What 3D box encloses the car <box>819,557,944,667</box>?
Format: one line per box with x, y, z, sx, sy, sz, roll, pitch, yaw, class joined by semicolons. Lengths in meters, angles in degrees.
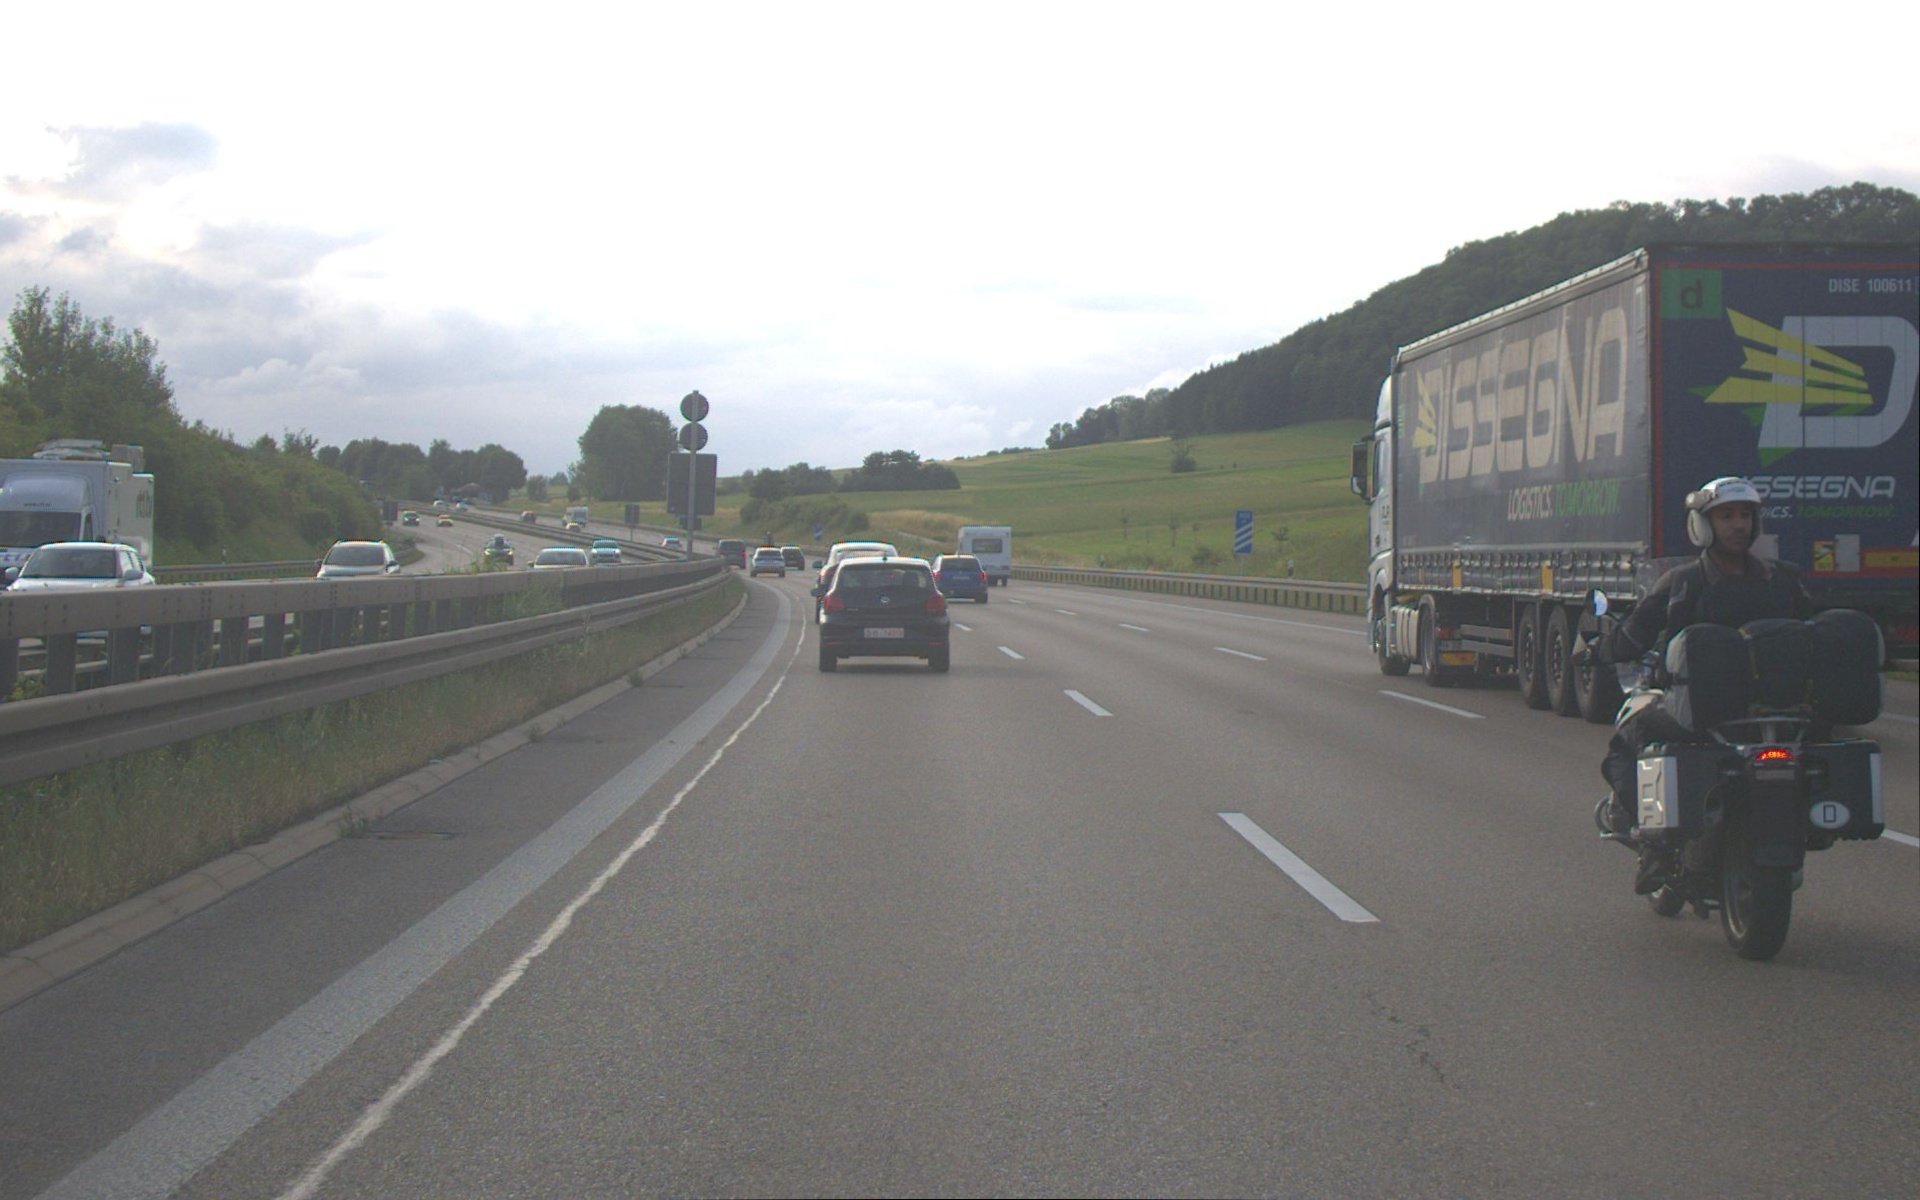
-0.988;0.131;44.676;1.538;1.343;3.677;1;1;0;car

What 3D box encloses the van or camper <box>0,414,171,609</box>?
-17.392;-1.685;66.808;2.481;3.539;7.978;1;1;-2;van or camper

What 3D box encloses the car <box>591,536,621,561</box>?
-23.545;-3.435;228.502;1.832;1.586;5.020;1;1;-4;car

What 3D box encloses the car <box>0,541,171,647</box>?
-12.605;-0.115;49.461;1.643;1.431;4.345;1;1;-2;car

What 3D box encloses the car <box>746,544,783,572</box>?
-10.436;-2.253;183.518;1.766;1.428;4.001;1;1;-6;car

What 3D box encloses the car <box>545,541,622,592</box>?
-10.587;-0.953;96.795;1.780;1.404;3.763;1;1;0;car

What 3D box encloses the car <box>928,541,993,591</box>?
-0.005;-1.031;103.277;1.766;1.428;4.001;1;1;-3;car

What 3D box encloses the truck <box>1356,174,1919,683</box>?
6.786;-1.488;35.914;2.964;3.978;17.733;1;1;-1;truck

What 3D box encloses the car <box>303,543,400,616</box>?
-14.372;-0.509;81.350;1.643;1.650;4.345;1;1;-2;car

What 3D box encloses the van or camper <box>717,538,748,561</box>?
-14.714;-3.292;222.616;1.966;1.428;4.001;1;1;-4;van or camper

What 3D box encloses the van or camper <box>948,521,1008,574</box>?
0.760;-2.268;148.197;2.548;2.231;5.329;1;1;0;van or camper

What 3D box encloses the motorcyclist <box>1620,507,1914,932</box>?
2.974;0.425;12.741;0.877;1.510;0.797;1;0;0;motorcyclist

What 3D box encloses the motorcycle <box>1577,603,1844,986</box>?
2.835;0.695;13.139;0.627;1.334;1.739;1;1;0;motorcycle

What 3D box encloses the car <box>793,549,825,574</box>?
-9.812;-2.482;223.065;1.957;1.568;4.000;1;1;-1;car
